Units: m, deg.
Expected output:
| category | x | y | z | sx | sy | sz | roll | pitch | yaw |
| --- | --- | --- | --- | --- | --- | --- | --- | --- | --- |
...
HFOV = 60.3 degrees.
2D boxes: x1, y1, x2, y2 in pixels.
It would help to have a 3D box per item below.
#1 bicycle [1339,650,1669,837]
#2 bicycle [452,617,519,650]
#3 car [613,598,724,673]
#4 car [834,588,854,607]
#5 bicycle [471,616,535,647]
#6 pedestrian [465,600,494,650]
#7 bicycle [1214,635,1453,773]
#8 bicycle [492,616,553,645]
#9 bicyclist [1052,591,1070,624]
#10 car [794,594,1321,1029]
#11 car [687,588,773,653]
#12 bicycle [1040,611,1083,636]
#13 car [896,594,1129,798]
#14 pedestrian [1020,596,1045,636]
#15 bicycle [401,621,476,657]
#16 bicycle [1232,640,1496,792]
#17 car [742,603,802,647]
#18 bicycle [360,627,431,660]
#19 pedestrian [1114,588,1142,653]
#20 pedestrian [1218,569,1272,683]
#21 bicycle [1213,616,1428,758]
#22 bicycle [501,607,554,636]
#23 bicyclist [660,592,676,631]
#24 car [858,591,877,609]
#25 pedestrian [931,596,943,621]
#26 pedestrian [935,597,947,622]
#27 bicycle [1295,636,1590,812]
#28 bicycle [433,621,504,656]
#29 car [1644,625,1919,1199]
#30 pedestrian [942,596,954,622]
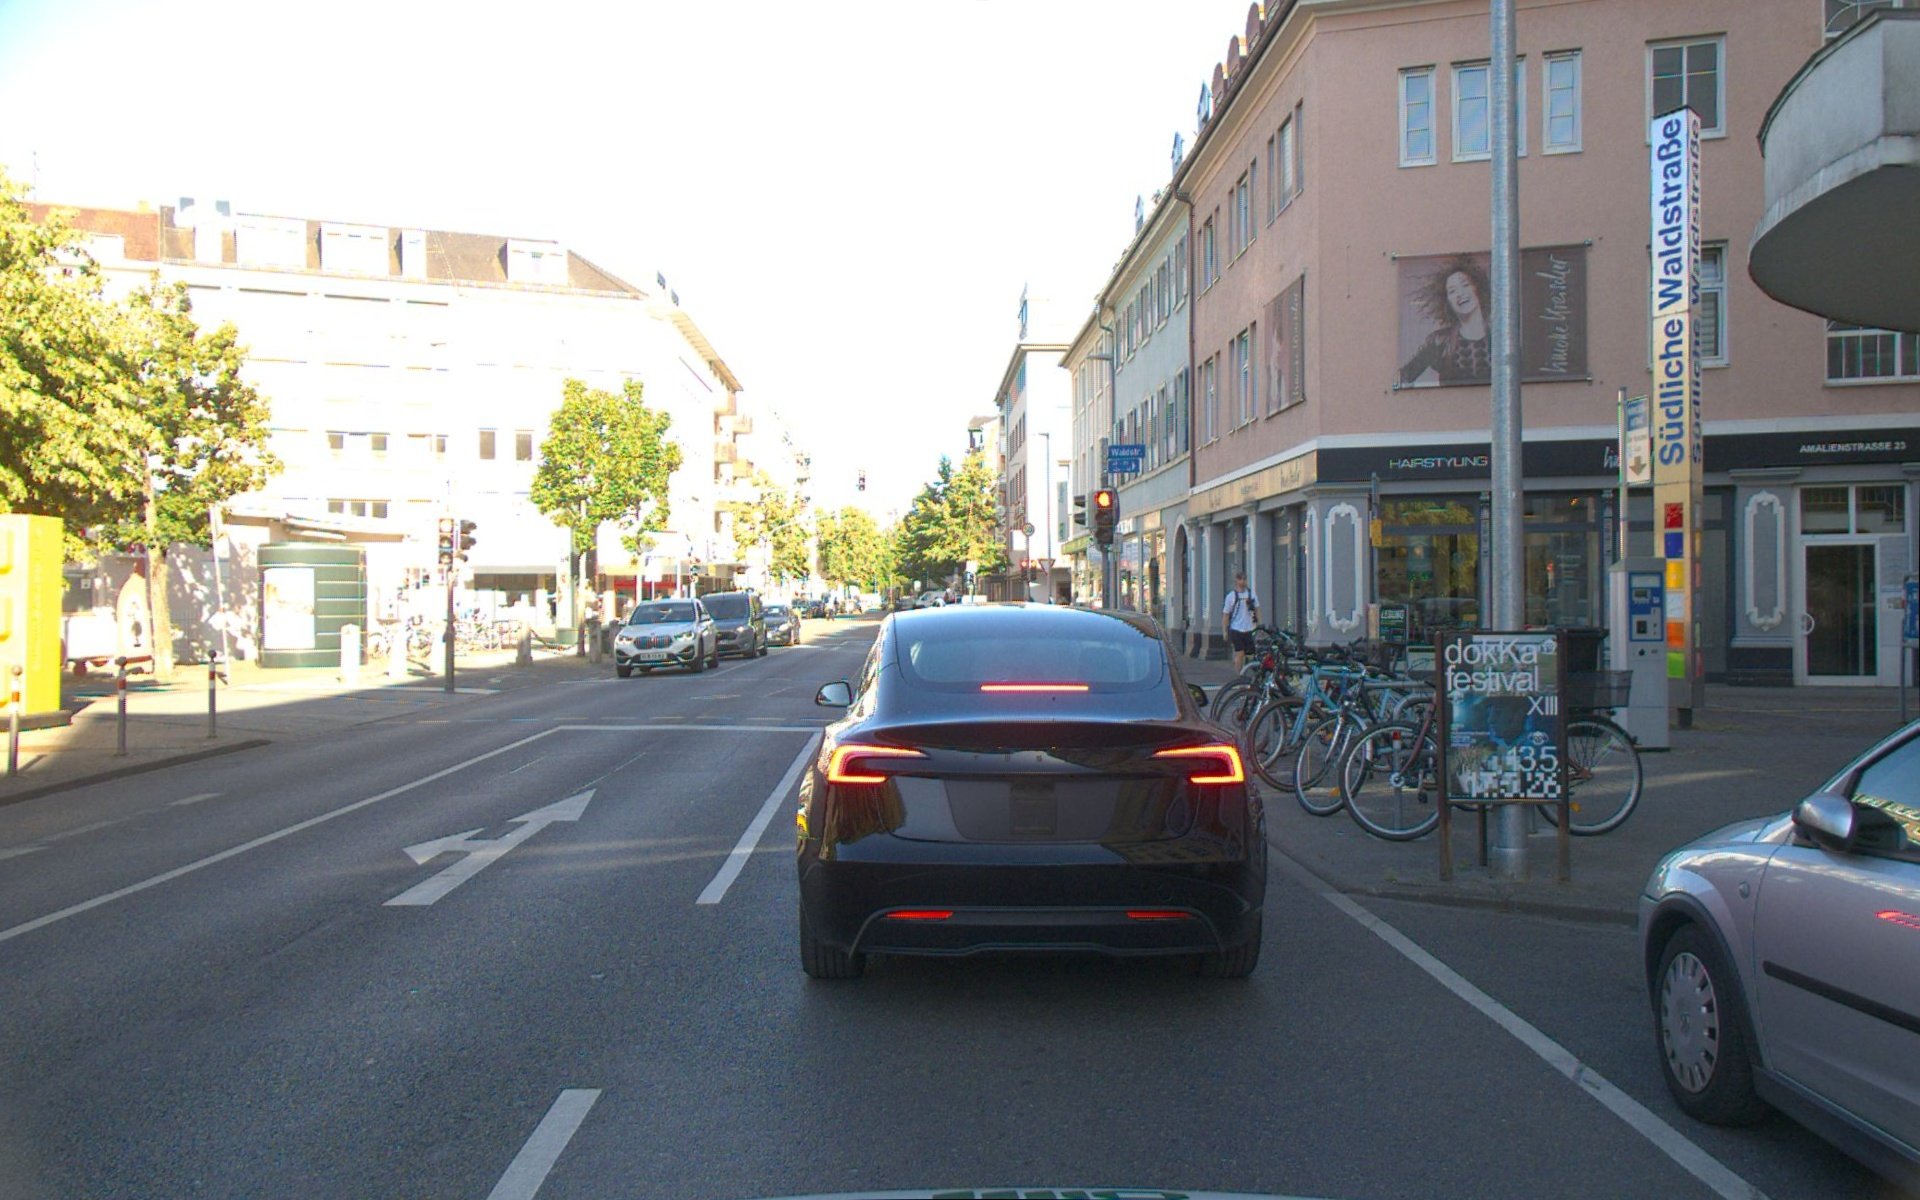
| category | x | y | z | sx | sy | sz | roll | pitch | yaw |
| --- | --- | --- | --- | --- | --- | --- | --- | --- | --- |
| bicycle | 3.269 | 0.867 | 10.023 | 1.833 | 1.056 | 0.353 | -2 | -1 | 6 |
| bicycle | -14.246 | 1.006 | 49.666 | 1.826 | 0.950 | 0.606 | 1 | 0 | -2 |
| car | -6.285 | 0.743 | 36.021 | 1.752 | 1.485 | 3.756 | -2 | 0 | -1 |
| car | -9.989 | -0.219 | 142.860 | 1.672 | 1.579 | 3.694 | 0 | 0 | -3 |
| bicycle | -14.330 | 0.991 | 51.900 | 1.826 | 0.950 | 0.606 | 0 | 0 | -2 |
| pedestrian | -19.926 | 1.041 | 68.607 | 1.041 | 2.049 | 1.049 | 1 | -1 | -20 |
| bicycle | 3.056 | 0.851 | 13.658 | 1.833 | 1.056 | 0.548 | -2 | -1 | 5 |
| bicycle | -14.366 | 1.001 | 54.347 | 1.826 | 0.950 | 0.606 | 0 | 0 | -2 |
| bicyclist | 4.359 | 0.321 | 71.414 | 0.659 | 1.420 | 0.460 | 1 | -1 | -17 |
| car | 0.307 | 0.724 | 7.602 | 1.785 | 1.467 | 3.999 | 0 | 0 | -1 |
| car | -6.226 | 0.538 | 45.149 | 1.751 | 1.675 | 4.401 | 1 | 0 | -1 |
| bicycle | 4.384 | 1.019 | 71.412 | 1.756 | 1.024 | 0.469 | 1 | -1 | -17 |
| car | 0.309 | 0.688 | 13.822 | 1.683 | 1.450 | 3.755 | 0 | 0 | -2 |
| pedestrian | 3.031 | 0.684 | 69.302 | 0.742 | 1.660 | 0.951 | 1 | -1 | -18 |
| bicycle | -14.173 | 1.046 | 44.972 | 1.826 | 0.950 | 0.606 | 1 | 0 | -2 |
| bicycle | 3.023 | 0.866 | 12.479 | 1.834 | 1.056 | 0.533 | -2 | -1 | 3 |
| car | -6.496 | 0.847 | 57.504 | 1.680 | 1.471 | 3.844 | 1 | 0 | -1 |
| bicycle | -14.452 | 1.114 | 42.389 | 1.612 | 0.806 | 0.606 | 1 | 0 | -5 |
| pedestrian | 4.614 | 0.565 | 45.445 | 0.692 | 1.773 | 0.540 | 0 | 0 | -1 |
| pedestrian | 4.586 | 0.418 | 26.673 | 0.735 | 1.796 | 0.837 | -1 | -1 | 3 |
| bicycle | 3.199 | 0.769 | 14.781 | 1.789 | 1.189 | 0.506 | -2 | -1 | 5 |
| bicycle | -20.264 | 1.028 | 77.583 | 2.334 | 1.318 | 0.509 | 1 | -1 | -27 |
| bicyclist | -11.618 | 0.456 | 65.884 | 0.516 | 1.530 | 0.472 | 1 | -1 | -25 |
| car | -10.412 | -0.035 | 186.999 | 1.953 | 2.049 | 3.999 | 0 | 0 | -1 |
| pedestrian | -1.335 | 0.504 | 94.777 | 0.467 | 1.442 | 0.516 | 1 | -1 | -32 |
| pedestrian | -1.063 | 0.538 | 93.936 | 0.516 | 1.447 | 0.474 | 1 | -1 | -31 |
| bicycle | 3.240 | 0.830 | 11.188 | 1.834 | 1.106 | 0.414 | -2 | -1 | 3 |
| bicycle | -14.010 | 1.090 | 47.195 | 1.826 | 0.950 | 0.606 | 1 | 0 | -2 |
| car | 2.916 | 0.782 | 3.490 | 1.515 | 1.415 | 3.476 | 0 | 0 | 0 |
| pedestrian | -0.665 | 0.511 | 94.673 | 0.516 | 1.447 | 0.474 | 1 | -1 | -31 |
